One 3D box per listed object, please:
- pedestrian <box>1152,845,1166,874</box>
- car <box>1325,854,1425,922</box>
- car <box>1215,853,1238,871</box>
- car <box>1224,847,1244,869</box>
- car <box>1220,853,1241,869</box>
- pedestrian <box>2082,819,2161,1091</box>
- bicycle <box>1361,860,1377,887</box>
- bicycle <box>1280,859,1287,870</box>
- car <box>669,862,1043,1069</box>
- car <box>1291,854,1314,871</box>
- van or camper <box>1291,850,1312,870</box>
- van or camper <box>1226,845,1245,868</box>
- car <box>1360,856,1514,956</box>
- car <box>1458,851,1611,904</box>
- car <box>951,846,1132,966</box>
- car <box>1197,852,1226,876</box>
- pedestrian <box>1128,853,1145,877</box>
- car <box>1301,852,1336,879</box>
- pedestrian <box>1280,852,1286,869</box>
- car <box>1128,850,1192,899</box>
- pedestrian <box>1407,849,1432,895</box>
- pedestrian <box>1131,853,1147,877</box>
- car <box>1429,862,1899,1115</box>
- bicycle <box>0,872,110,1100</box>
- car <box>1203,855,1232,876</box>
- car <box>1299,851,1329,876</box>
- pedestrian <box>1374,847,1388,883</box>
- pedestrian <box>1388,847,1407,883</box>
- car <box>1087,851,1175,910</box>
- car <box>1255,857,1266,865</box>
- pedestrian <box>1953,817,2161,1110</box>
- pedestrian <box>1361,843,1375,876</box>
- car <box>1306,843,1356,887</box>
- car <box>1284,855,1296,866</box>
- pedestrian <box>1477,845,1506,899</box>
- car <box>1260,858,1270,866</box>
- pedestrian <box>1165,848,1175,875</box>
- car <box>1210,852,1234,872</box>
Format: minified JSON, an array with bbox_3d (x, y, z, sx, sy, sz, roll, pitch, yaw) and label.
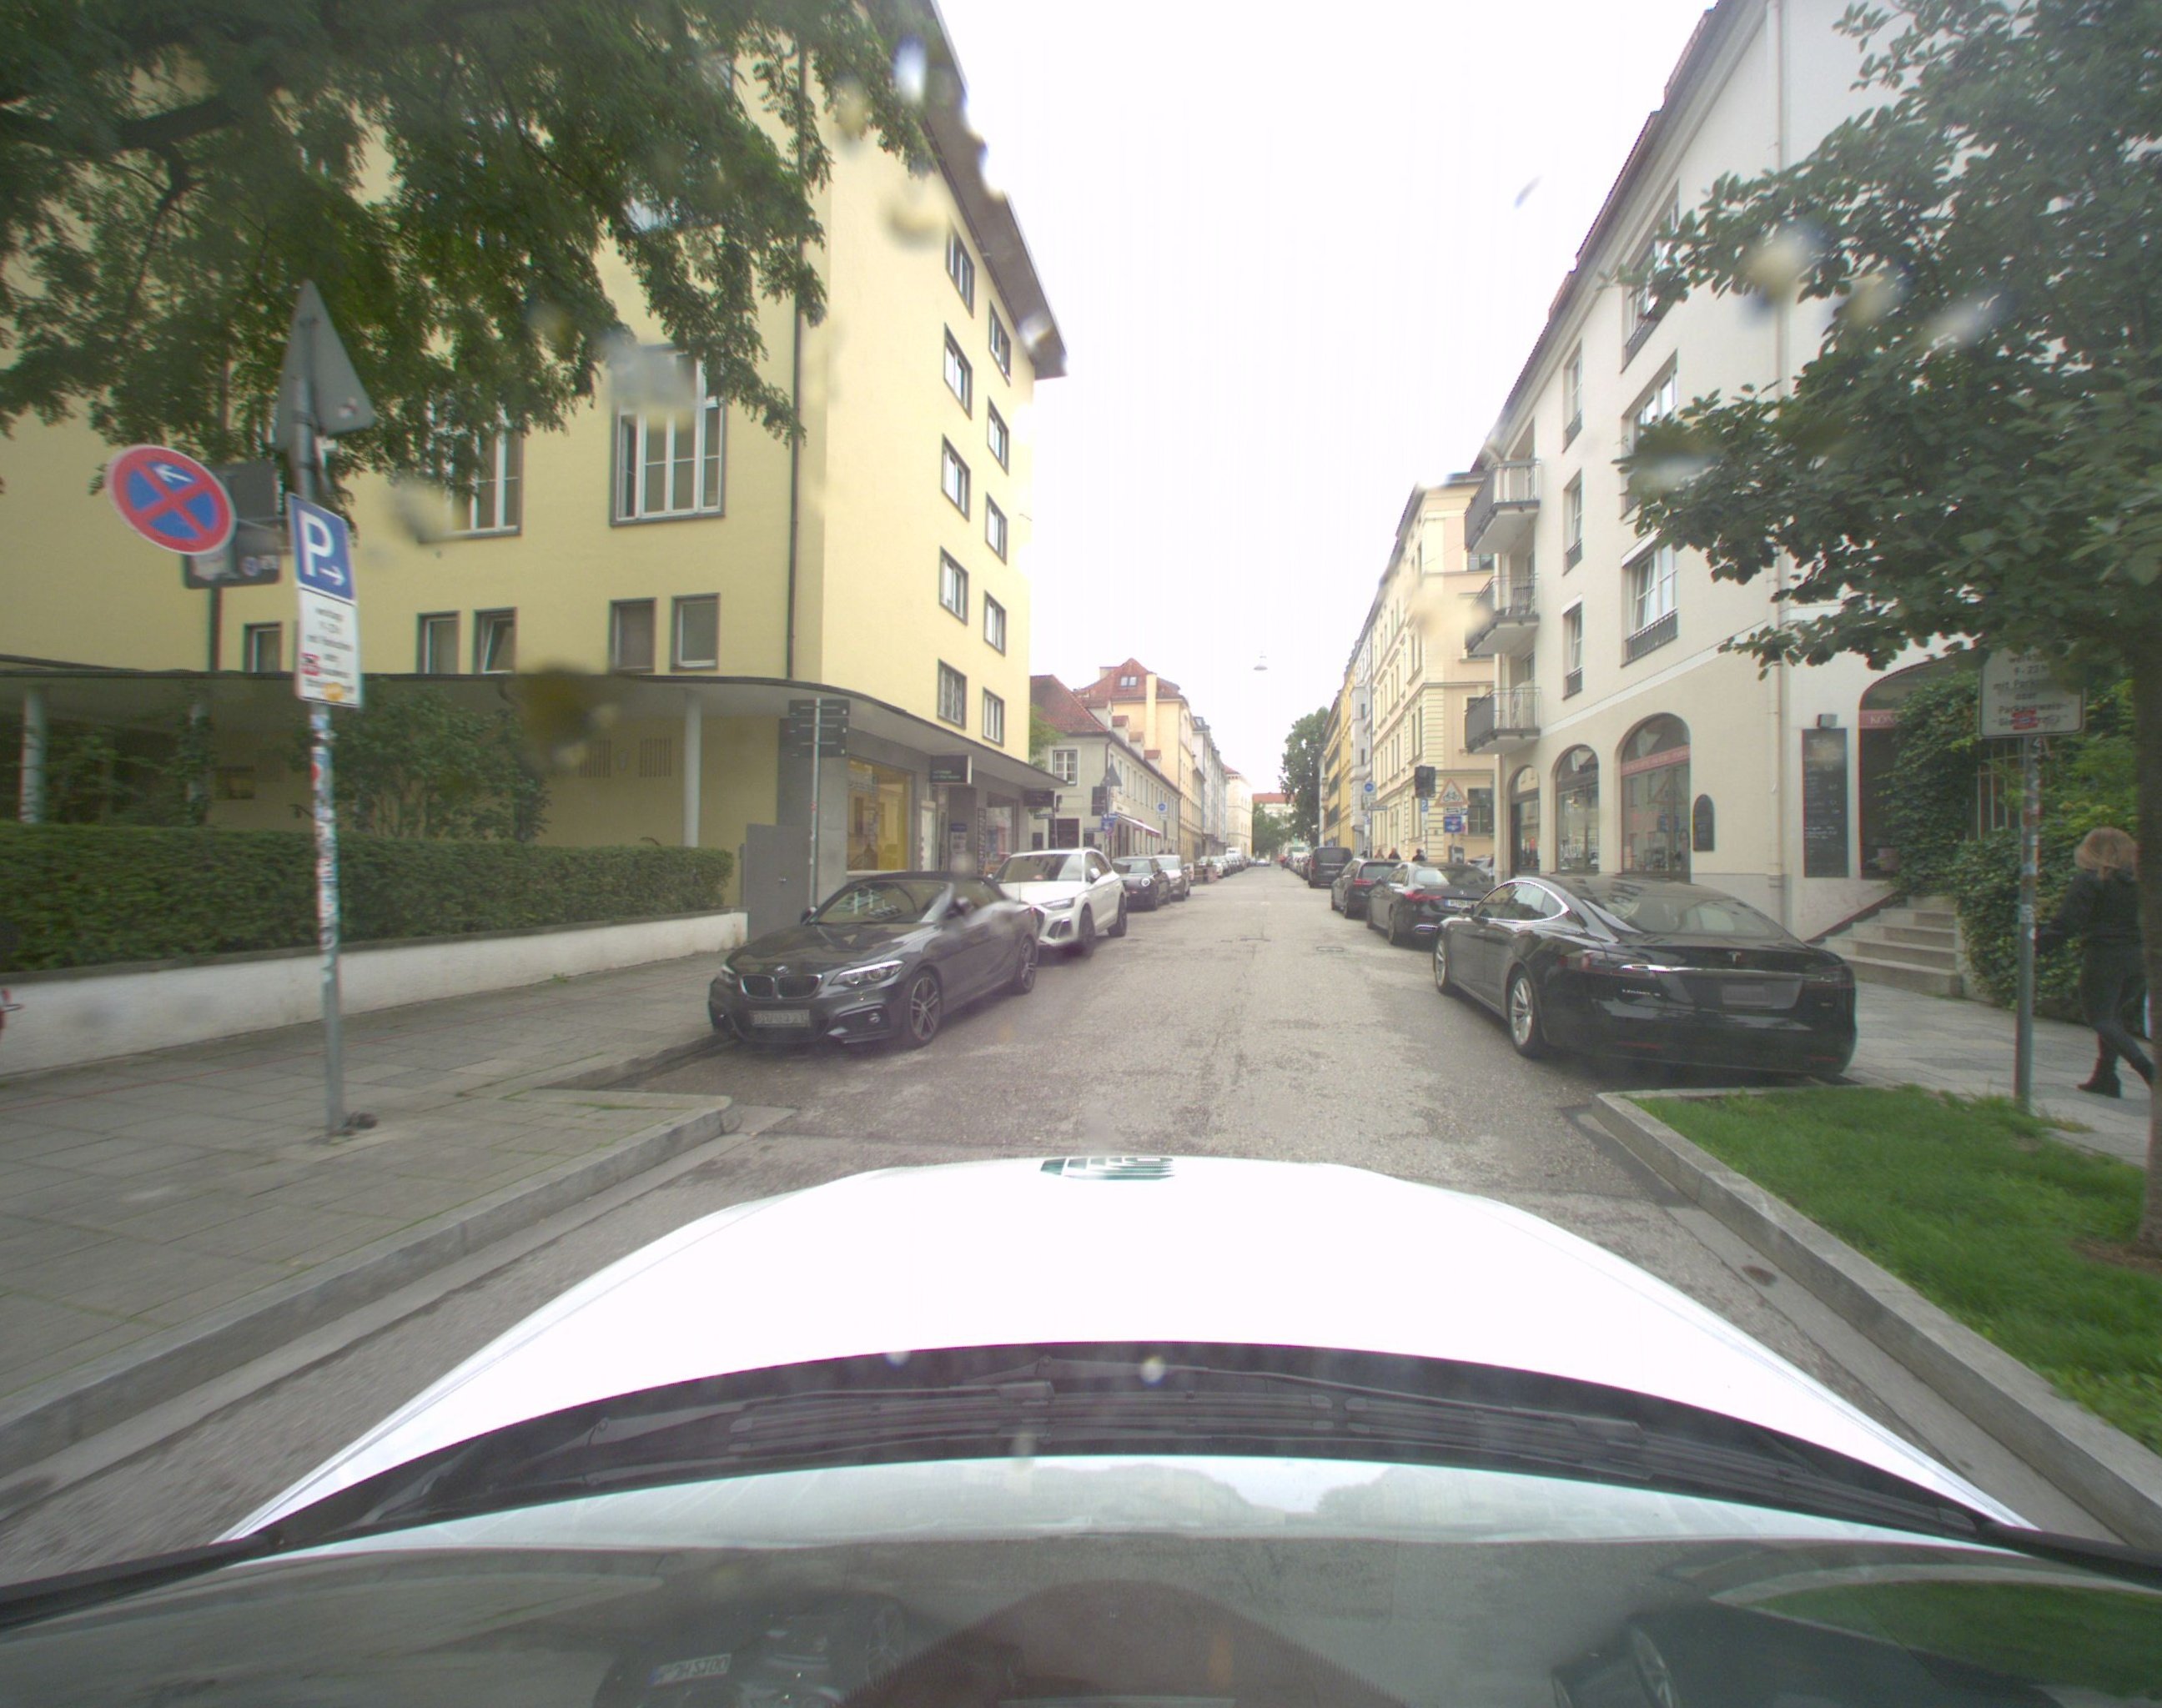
[{"bbox_3d":[5.203,0.368,54.088,0.817,1.898,0.830,0,-2,12],"label":"pedestrian"},{"bbox_3d":[7.247,0.762,20.444,1.665,1.425,4.216,3,1,11],"label":"car"},{"bbox_3d":[12.132,0.637,68.158,1.805,1.441,4.142,-1,0,9],"label":"car"},{"bbox_3d":[14.623,0.416,77.859,1.744,1.995,4.637,1,0,9],"label":"car"},{"bbox_3d":[13.463,0.632,73.050,1.743,1.409,4.116,1,0,12],"label":"car"},{"bbox_3d":[6.950,0.619,4.932,0.700,1.661,0.883,0,-2,12],"label":"pedestrian"},{"bbox_3d":[12.713,0.842,35.971,0.462,1.052,1.736,-2,2,14],"label":"bicycle"},{"bbox_3d":[21.140,1.134,85.132,0.670,1.095,1.766,0,-2,14],"label":"bicycle"},{"bbox_3d":[-1.786,0.820,7.963,1.733,1.410,4.113,-1,0,13],"label":"car"},{"bbox_3d":[19.735,0.773,72.552,1.697,1.454,4.109,1,0,11],"label":"car"},{"bbox_3d":[22.168,0.580,81.997,1.821,1.872,5.097,1,0,13],"label":"van or camper"},{"bbox_3d":[15.858,0.288,83.195,1.743,2.281,5.291,1,0,12],"label":"van or camper"},{"bbox_3d":[6.296,0.808,14.909,1.635,1.425,4.524,3,1,12],"label":"car"},{"bbox_3d":[14.820,0.731,26.813,4.062,1.605,1.761,0,1,11],"label":"car"},{"bbox_3d":[-0.432,0.698,13.308,1.790,1.584,4.354,-1,1,13],"label":"car"},{"bbox_3d":[8.426,0.642,52.470,1.744,1.475,3.724,1,0,10],"label":"car"},{"bbox_3d":[3.017,0.602,43.955,0.797,1.290,0.696,0,-2,13],"label":"pedestrian"},{"bbox_3d":[14.155,0.683,48.720,1.742,1.521,4.290,1,0,13],"label":"car"},{"bbox_3d":[21.153,0.668,85.186,0.637,1.714,0.846,0,-2,14],"label":"pedestrian"},{"bbox_3d":[2.730,0.639,27.075,1.668,1.471,4.965,-1,0,11],"label":"car"},{"bbox_3d":[12.762,0.670,30.704,0.714,1.717,1.007,0,-2,12],"label":"pedestrian"},{"bbox_3d":[3.195,0.617,44.708,0.797,1.290,0.696,0,-2,13],"label":"pedestrian"},{"bbox_3d":[4.559,0.835,7.364,1.790,1.410,4.673,1,1,13],"label":"car"},{"bbox_3d":[-6.256,0.715,3.970,0.557,1.210,1.862,1,0,16],"label":"bicycle"},{"bbox_3d":[9.664,0.766,57.451,1.786,1.339,4.701,1,0,12],"label":"car"},{"bbox_3d":[15.444,0.646,54.174,1.731,1.583,4.482,1,0,13],"label":"car"},{"bbox_3d":[13.790,0.503,37.433,0.469,1.625,1.073,0,-2,12],"label":"pedestrian"},{"bbox_3d":[14.506,0.511,37.319,0.654,1.621,0.983,0,-2,12],"label":"pedestrian"},{"bbox_3d":[1.481,0.679,22.524,1.667,1.471,4.113,-1,0,14],"label":"car"},{"bbox_3d":[34.690,1.412,157.353,1.694,1.581,3.879,-1,-1,16],"label":"car"},{"bbox_3d":[6.239,0.632,5.076,0.700,1.661,0.883,0,-2,12],"label":"pedestrian"},{"bbox_3d":[17.344,0.350,49.246,0.664,1.981,0.711,-3,-2,13],"label":"pedestrian"},{"bbox_3d":[11.558,0.491,37.980,1.983,1.864,5.273,1,0,14],"label":"car"},{"bbox_3d":[31.253,0.991,121.840,1.799,1.614,4.171,0,-1,14],"label":"car"},{"bbox_3d":[12.674,0.553,25.147,0.631,1.647,0.527,0,-2,5],"label":"pedestrian"},{"bbox_3d":[36.916,1.578,163.160,1.694,1.581,3.879,-1,-1,16],"label":"car"},{"bbox_3d":[5.958,0.480,54.292,0.525,1.782,0.880,0,-2,13],"label":"pedestrian"},{"bbox_3d":[10.943,0.628,63.106,1.743,1.496,4.212,1,0,10],"label":"car"}]
